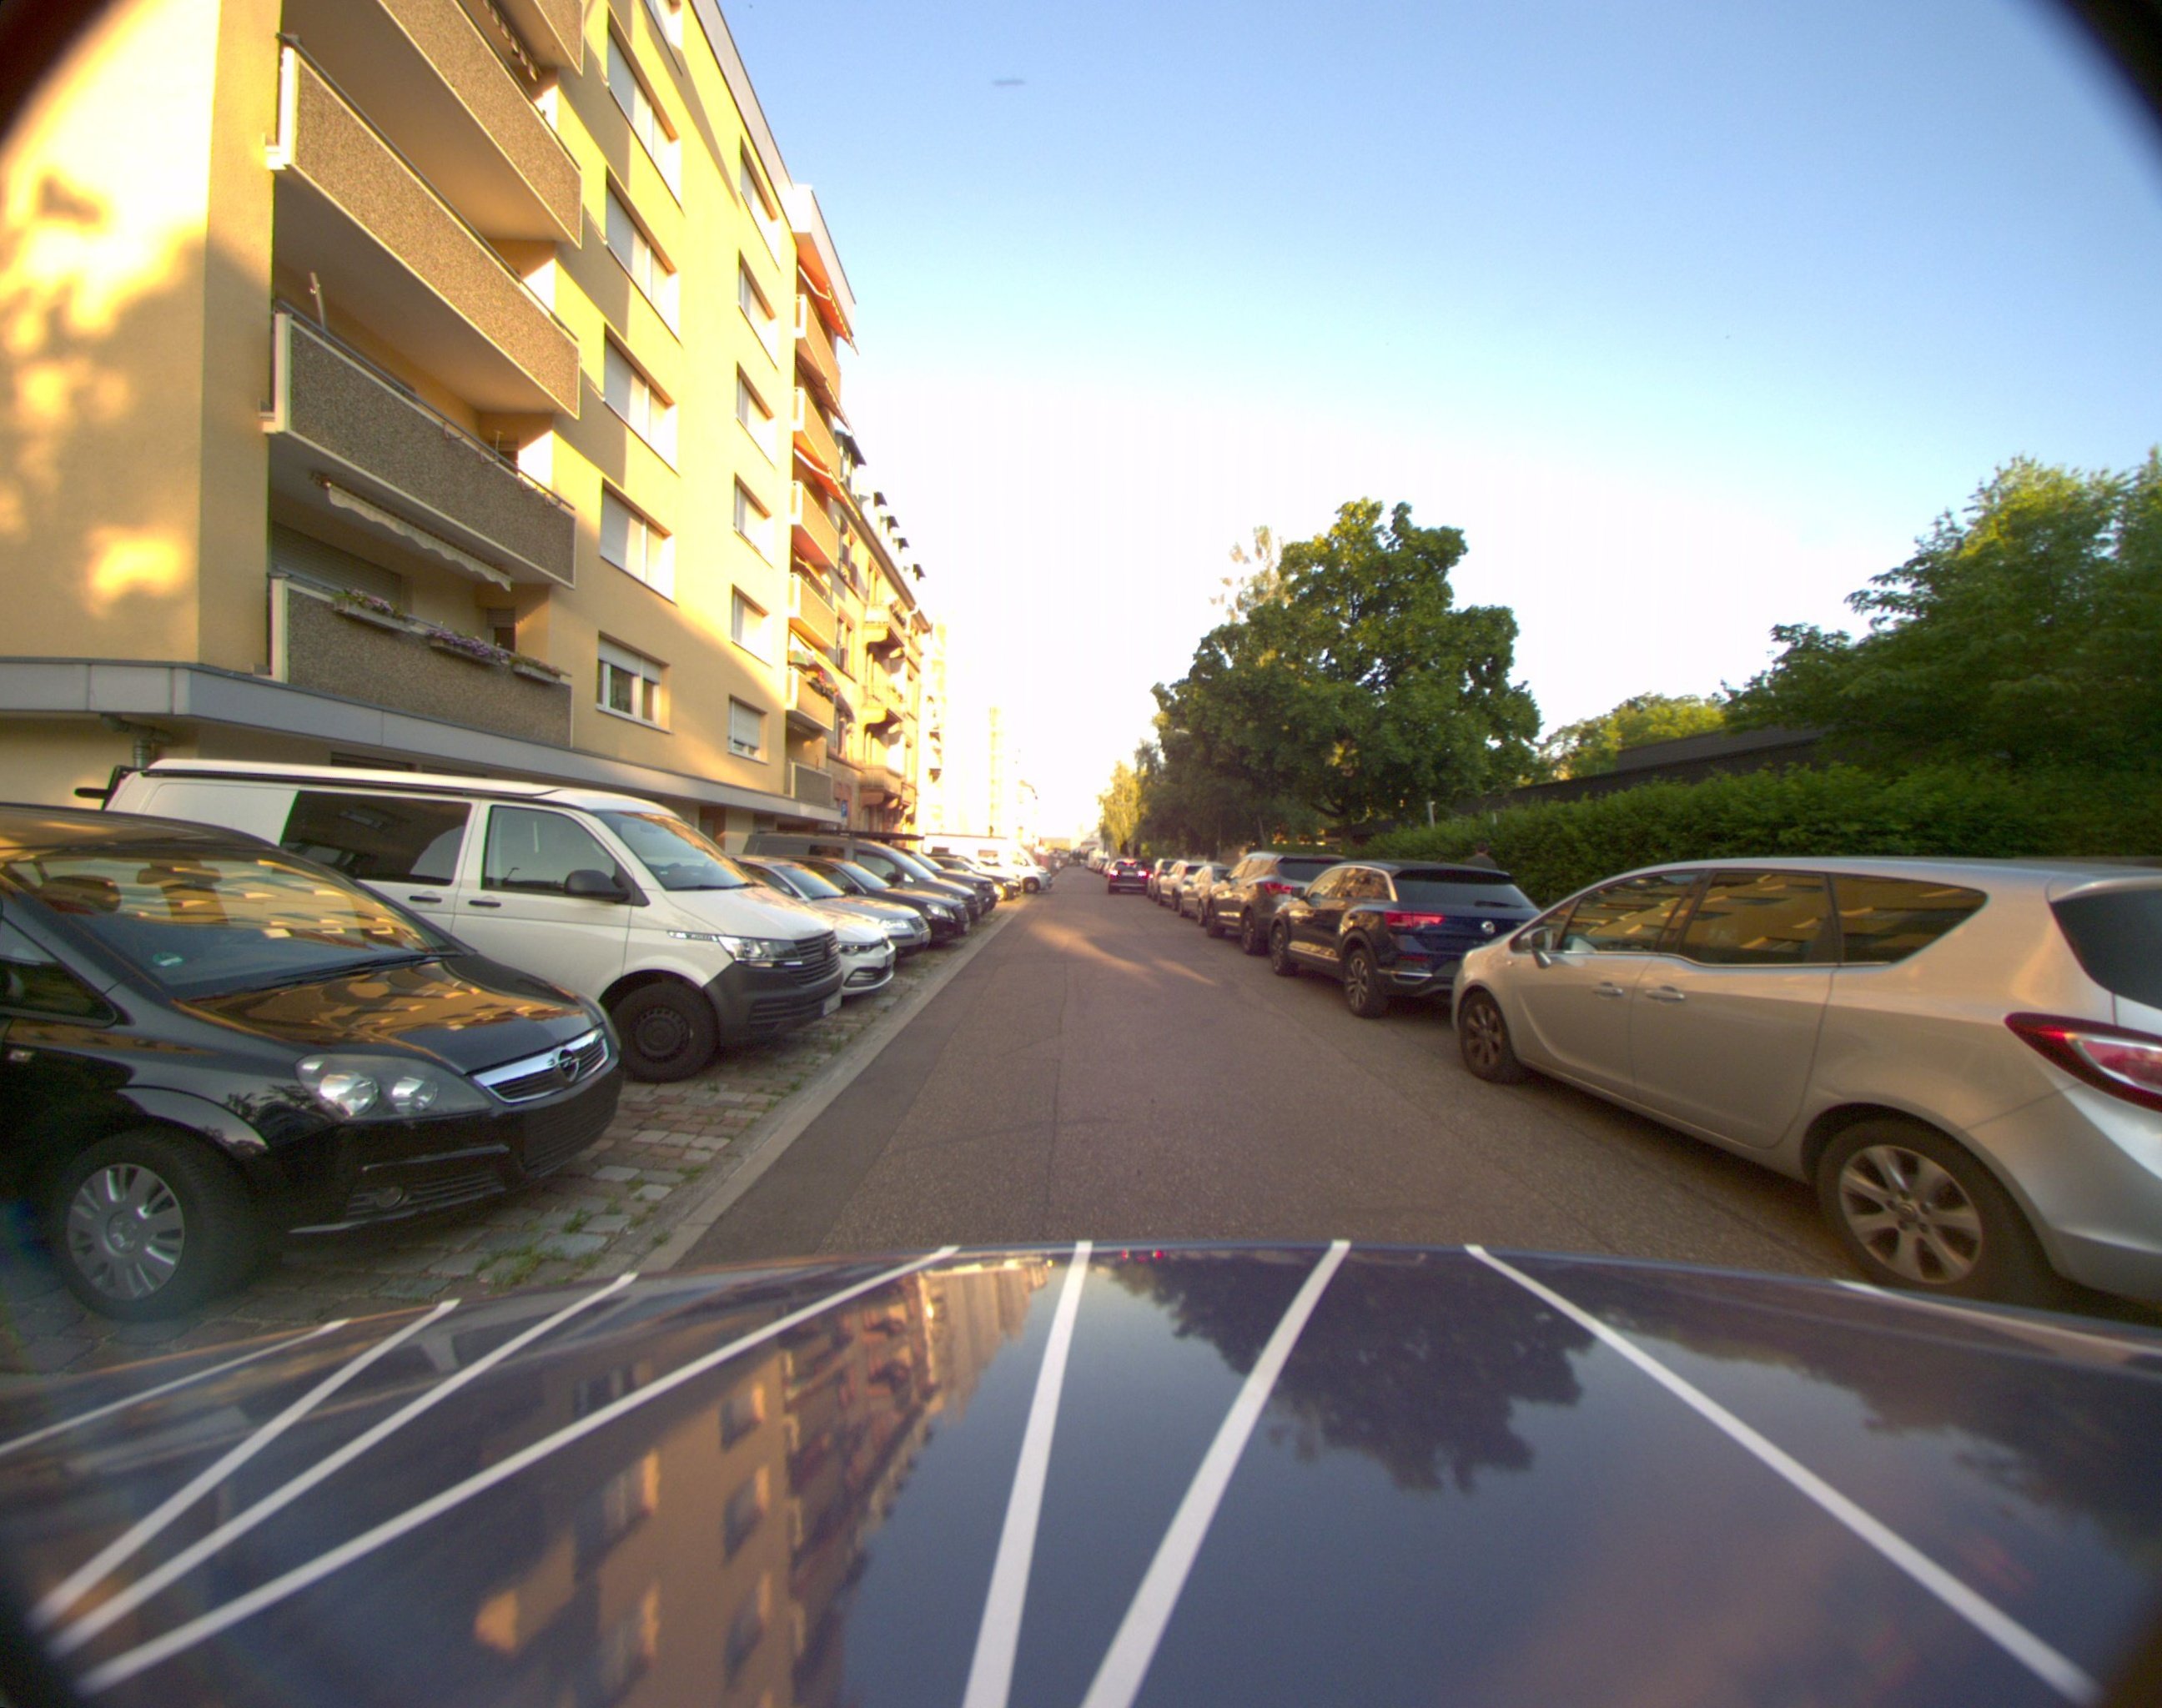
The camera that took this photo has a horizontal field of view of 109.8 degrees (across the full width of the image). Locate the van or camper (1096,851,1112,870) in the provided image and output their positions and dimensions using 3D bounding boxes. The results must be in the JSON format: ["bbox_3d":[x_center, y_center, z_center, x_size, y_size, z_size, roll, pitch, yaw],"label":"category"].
[{"bbox_3d":[3.044,0.881,101.247,1.825,2.400,4.291,2,0,-1],"label":"van or camper"}]

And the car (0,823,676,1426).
[{"bbox_3d":[-4.322,0.762,3.068,4.338,1.652,1.780,3,2,-3],"label":"car"}]

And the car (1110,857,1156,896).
[{"bbox_3d":[2.460,1.003,35.220,1.736,1.621,4.129,2,0,8],"label":"car"}]

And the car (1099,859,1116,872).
[{"bbox_3d":[3.112,1.341,89.881,1.738,1.358,4.291,2,0,-1],"label":"car"}]

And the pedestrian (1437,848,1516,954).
[{"bbox_3d":[6.711,0.783,12.931,0.901,1.722,0.750,-2,0,-2],"label":"pedestrian"}]

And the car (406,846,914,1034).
[{"bbox_3d":[-4.236,0.823,8.196,4.415,1.622,1.845,2,2,-1],"label":"car"}]

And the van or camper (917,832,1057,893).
[{"bbox_3d":[-4.249,0.394,35.090,6.075,2.489,2.050,2,0,0],"label":"van or camper"}]

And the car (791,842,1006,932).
[{"bbox_3d":[-4.136,0.739,17.771,4.524,1.852,1.845,2,0,-1],"label":"car"}]

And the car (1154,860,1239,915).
[{"bbox_3d":[3.512,0.981,23.960,1.764,1.533,4.279,2,0,-3],"label":"car"}]

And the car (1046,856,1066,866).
[{"bbox_3d":[-4.976,1.338,152.651,3.997,2.002,2.000,0,0,-1],"label":"car"}]

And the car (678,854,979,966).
[{"bbox_3d":[-4.067,0.880,12.800,4.415,1.554,1.845,2,2,-1],"label":"car"}]

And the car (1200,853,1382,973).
[{"bbox_3d":[3.435,0.884,13.347,1.738,1.720,4.322,2,0,-3],"label":"car"}]

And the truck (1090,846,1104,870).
[{"bbox_3d":[2.630,0.669,128.128,2.183,3.860,4.926,0,0,0],"label":"truck"}]

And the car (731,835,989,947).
[{"bbox_3d":[-4.322,0.690,15.390,4.649,1.970,1.845,2,2,-1],"label":"car"}]

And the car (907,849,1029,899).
[{"bbox_3d":[-4.351,0.752,29.703,4.414,1.738,1.846,2,1,2],"label":"car"}]

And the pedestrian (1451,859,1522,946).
[{"bbox_3d":[7.376,0.860,13.870,0.750,1.499,0.901,-2,0,-2],"label":"pedestrian"}]

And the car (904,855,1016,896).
[{"bbox_3d":[-5.066,0.875,32.230,4.414,1.610,1.845,0,2,1],"label":"car"}]

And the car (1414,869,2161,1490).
[{"bbox_3d":[3.607,0.919,3.919,1.738,1.558,4.128,2,0,-3],"label":"car"}]

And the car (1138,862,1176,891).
[{"bbox_3d":[4.024,1.172,40.457,1.624,1.417,3.415,2,0,0],"label":"car"}]

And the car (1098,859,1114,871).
[{"bbox_3d":[3.091,1.356,95.720,1.738,1.502,4.291,2,0,-1],"label":"car"}]

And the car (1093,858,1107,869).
[{"bbox_3d":[2.793,1.347,110.453,1.738,1.502,4.291,2,0,-1],"label":"car"}]

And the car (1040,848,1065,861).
[{"bbox_3d":[-4.545,0.033,120.952,3.997,2.002,2.000,0,0,-1],"label":"car"}]

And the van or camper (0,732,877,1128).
[{"bbox_3d":[-4.453,0.489,5.773,5.147,2.155,2.039,4,1,-2],"label":"van or camper"}]

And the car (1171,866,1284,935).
[{"bbox_3d":[3.522,1.076,19.062,1.738,1.418,4.286,2,0,-3],"label":"car"}]

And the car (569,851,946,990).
[{"bbox_3d":[-4.267,0.844,10.551,4.415,1.584,1.845,2,2,-1],"label":"car"}]

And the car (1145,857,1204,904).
[{"bbox_3d":[3.534,0.969,29.356,1.738,1.621,3.980,2,0,0],"label":"car"}]

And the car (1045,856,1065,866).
[{"bbox_3d":[-5.134,1.340,150.222,3.997,2.002,2.000,0,0,-1],"label":"car"}]

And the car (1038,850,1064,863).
[{"bbox_3d":[-4.586,0.351,117.620,3.997,2.002,2.000,0,0,-1],"label":"car"}]

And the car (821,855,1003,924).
[{"bbox_3d":[-4.439,0.911,20.429,4.414,1.545,1.845,2,2,2],"label":"car"}]

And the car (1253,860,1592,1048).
[{"bbox_3d":[3.416,0.885,8.605,1.738,1.558,4.166,2,0,-3],"label":"car"}]

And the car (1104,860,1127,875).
[{"bbox_3d":[3.222,1.266,71.649,1.738,1.358,4.291,2,0,-1],"label":"car"}]

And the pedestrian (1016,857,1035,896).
[{"bbox_3d":[-2.451,0.978,33.651,0.748,1.692,0.558,-2,1,-4],"label":"pedestrian"}]

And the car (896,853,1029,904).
[{"bbox_3d":[-4.159,0.846,27.134,4.414,1.545,1.845,2,2,0],"label":"car"}]

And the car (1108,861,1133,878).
[{"bbox_3d":[3.284,1.269,63.204,1.738,1.358,3.804,2,0,-1],"label":"car"}]

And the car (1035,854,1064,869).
[{"bbox_3d":[-4.430,1.041,106.750,3.997,2.002,2.000,0,0,-1],"label":"car"}]

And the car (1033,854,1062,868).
[{"bbox_3d":[-4.808,1.041,109.295,3.997,2.002,2.000,0,0,-1],"label":"car"}]
